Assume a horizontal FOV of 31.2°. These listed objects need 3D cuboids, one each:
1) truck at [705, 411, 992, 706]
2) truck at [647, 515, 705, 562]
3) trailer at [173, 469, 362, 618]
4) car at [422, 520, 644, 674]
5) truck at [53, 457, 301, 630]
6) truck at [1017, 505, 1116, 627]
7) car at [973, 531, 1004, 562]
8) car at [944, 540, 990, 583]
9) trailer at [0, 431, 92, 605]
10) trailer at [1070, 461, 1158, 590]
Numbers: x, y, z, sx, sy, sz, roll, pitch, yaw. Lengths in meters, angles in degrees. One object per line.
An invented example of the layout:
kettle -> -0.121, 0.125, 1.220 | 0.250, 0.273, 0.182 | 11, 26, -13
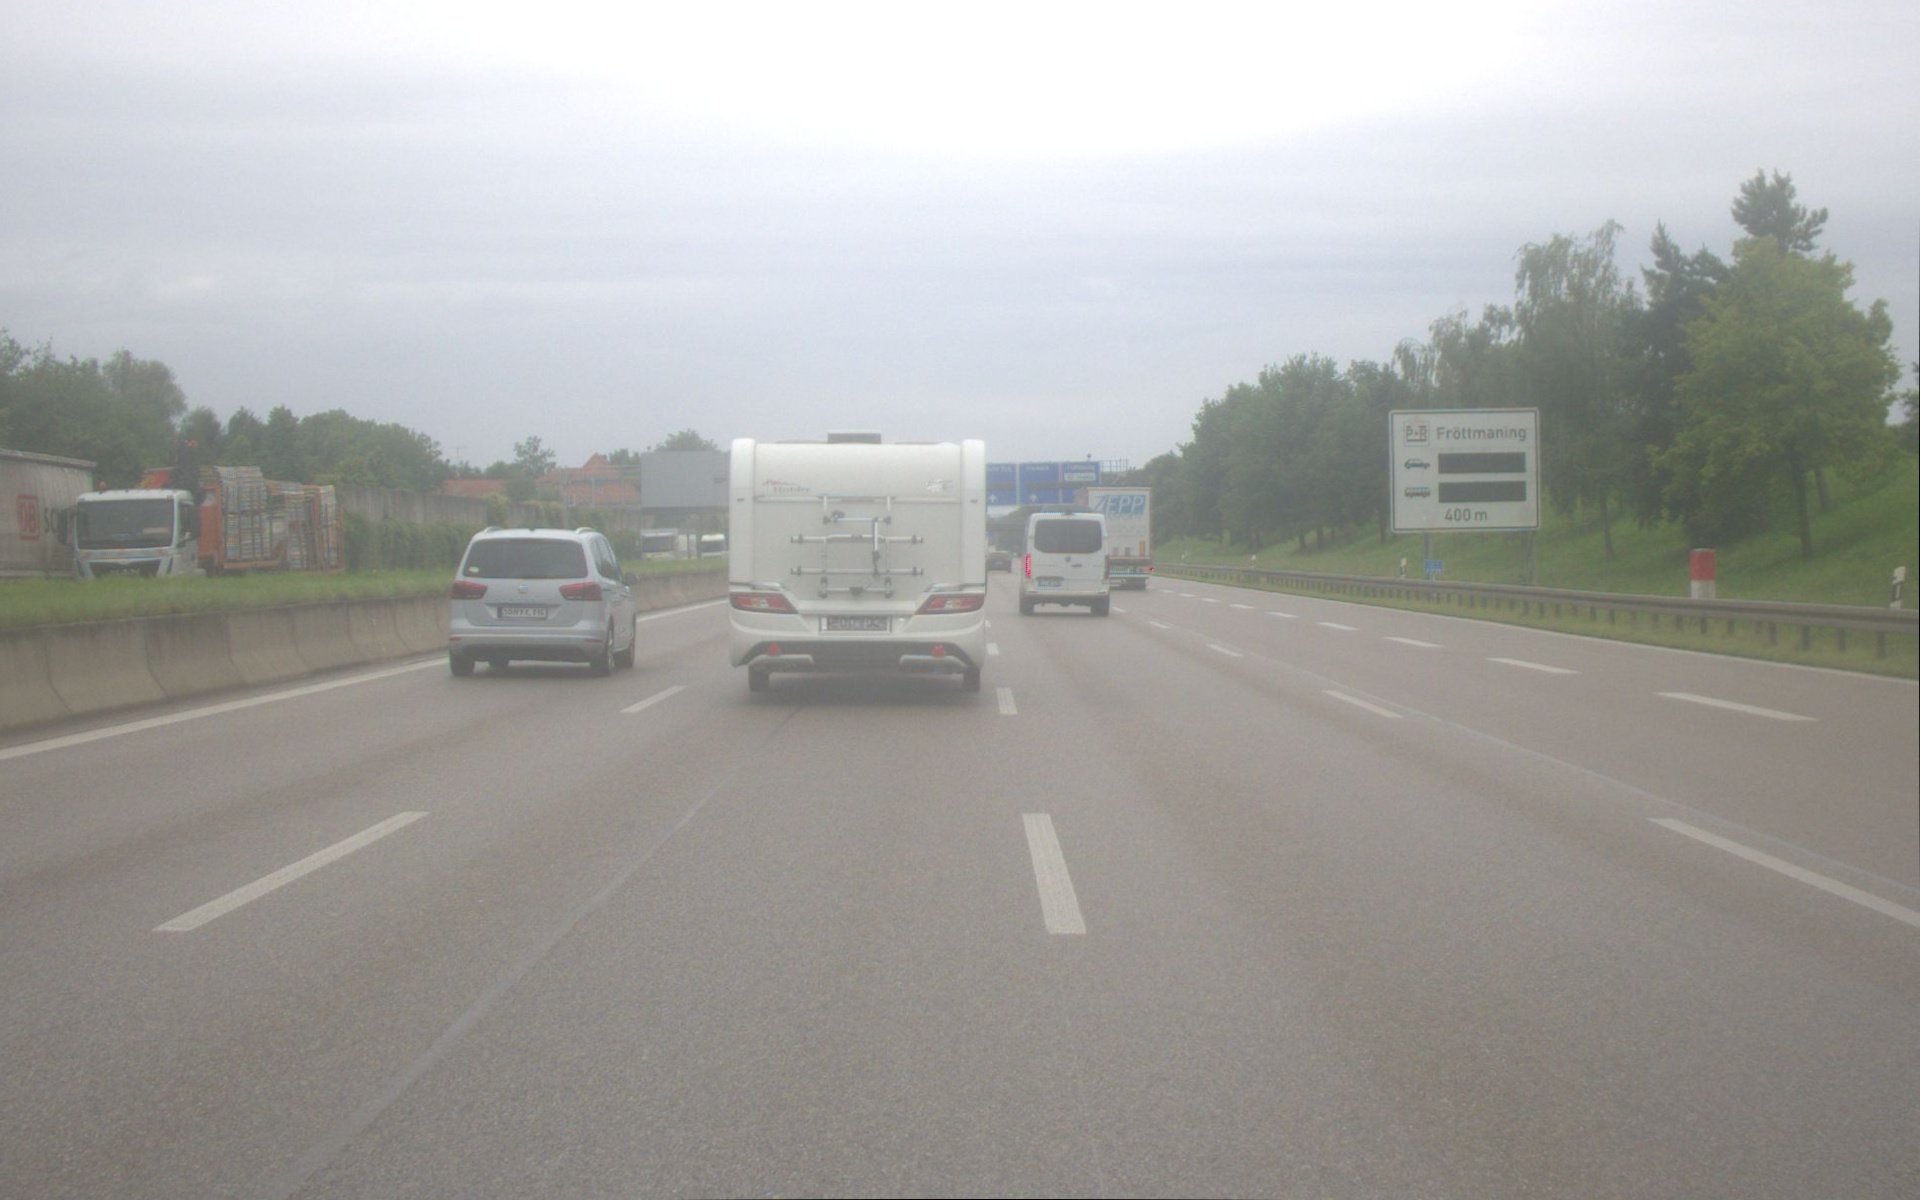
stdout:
truck -> -1.077, -0.411, 34.855 | 2.661, 2.733, 5.078 | 1, 1, -1
truck -> -19.786, -4.261, 240.262 | 2.884, 3.210, 11.358 | 1, 1, 1
trailer -> -16.962, -1.370, 84.751 | 2.931, 3.447, 8.320 | 1, 1, 0
car -> -4.969, -0.052, 40.556 | 2.128, 1.700, 4.113 | 1, 1, -1
truck -> -16.861, -1.193, 74.892 | 2.950, 3.454, 11.186 | 1, 1, -1
truck -> 2.467, -0.799, 80.977 | 2.053, 2.760, 5.549 | 1, 1, -1
car -> 1.879, -3.612, 230.954 | 1.993, 2.007, 4.000 | 0, 1, -1
car -> 0.277, -1.570, 141.335 | 1.814, 1.734, 3.882 | 1, 1, -1
trailer -> -20.798, -1.685, 71.012 | 2.686, 3.528, 11.870 | 1, 1, 0
trailer -> 6.104, -2.911, 137.790 | 3.100, 4.905, 11.790 | 1, 1, 1
